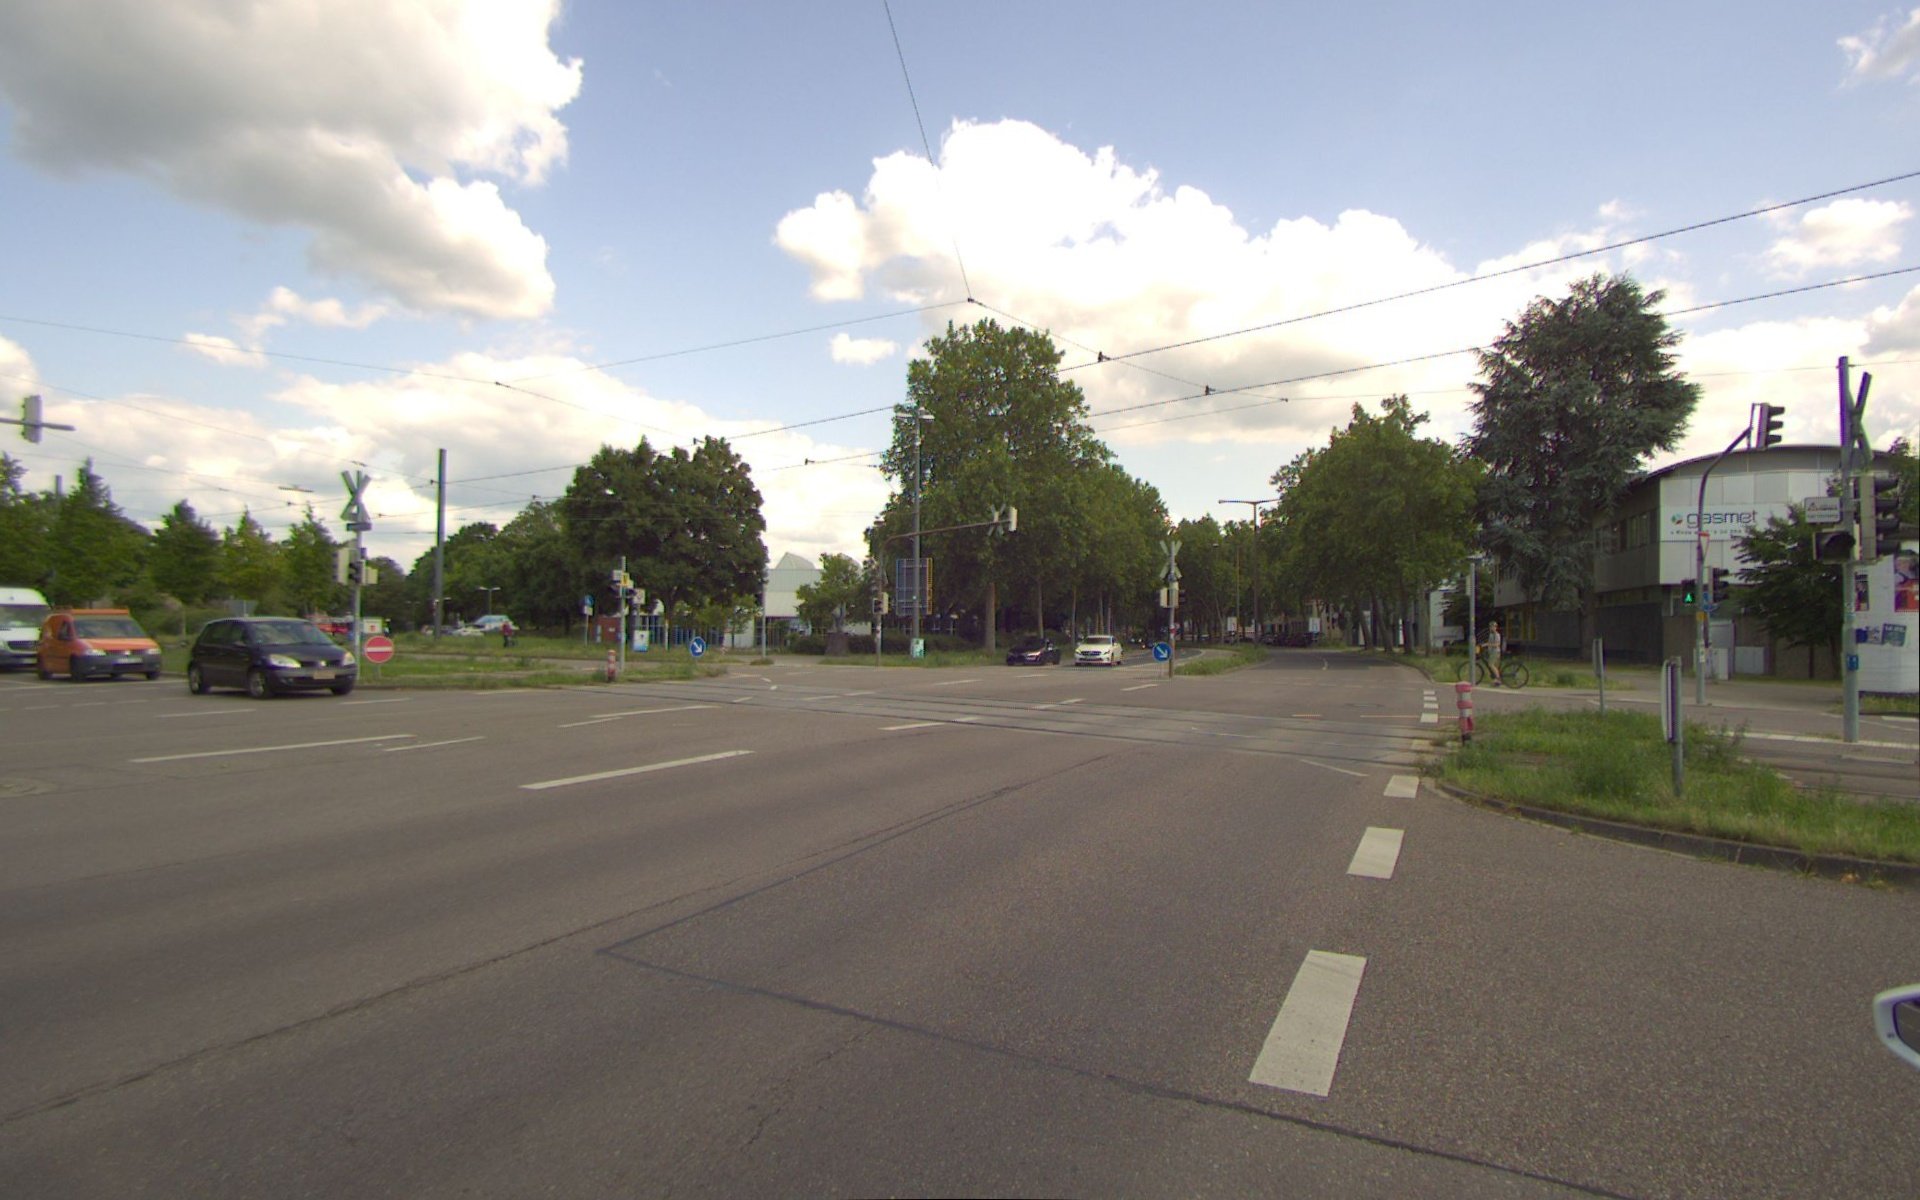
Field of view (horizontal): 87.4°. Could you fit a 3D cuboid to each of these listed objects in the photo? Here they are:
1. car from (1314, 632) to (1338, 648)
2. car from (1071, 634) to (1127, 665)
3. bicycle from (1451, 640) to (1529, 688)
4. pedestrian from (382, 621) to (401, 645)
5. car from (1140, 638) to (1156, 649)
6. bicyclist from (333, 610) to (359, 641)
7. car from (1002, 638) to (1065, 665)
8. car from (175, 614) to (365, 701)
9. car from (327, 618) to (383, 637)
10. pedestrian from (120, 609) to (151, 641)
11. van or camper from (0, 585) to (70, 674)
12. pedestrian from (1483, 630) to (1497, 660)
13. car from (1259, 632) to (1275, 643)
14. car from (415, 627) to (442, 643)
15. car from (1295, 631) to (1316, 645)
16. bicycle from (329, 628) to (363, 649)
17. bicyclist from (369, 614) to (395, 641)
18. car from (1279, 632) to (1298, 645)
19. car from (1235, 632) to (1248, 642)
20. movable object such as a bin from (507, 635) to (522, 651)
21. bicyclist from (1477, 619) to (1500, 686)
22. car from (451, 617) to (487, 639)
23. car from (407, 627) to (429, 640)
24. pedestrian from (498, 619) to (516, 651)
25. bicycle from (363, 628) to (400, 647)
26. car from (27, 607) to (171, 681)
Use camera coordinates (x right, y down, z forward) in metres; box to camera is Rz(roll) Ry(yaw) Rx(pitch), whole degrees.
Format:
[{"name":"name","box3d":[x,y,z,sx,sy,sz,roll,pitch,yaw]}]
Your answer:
[{"name":"car","box3d":[41.615,4.519,114.294,1.959,1.595,4.002,0,0,11]},{"name":"car","box3d":[6.689,2.353,48.052,1.795,1.382,4.138,0,-2,21]},{"name":"bicycle","box3d":[14.862,1.781,28.180,1.919,1.252,0.539,0,0,33]},{"name":"pedestrian","box3d":[-33.142,1.902,58.586,0.739,1.372,0.650,0,0,29]},{"name":"car","box3d":[22.027,5.089,117.919,1.607,1.207,3.711,1,-2,6]},{"name":"bicyclist","box3d":[-34.845,1.451,57.023,0.822,1.745,0.960,0,-2,34]},{"name":"car","box3d":[3.602,2.474,48.608,1.611,1.207,3.702,0,-2,30]},{"name":"car","box3d":[-14.380,1.137,20.900,3.981,1.652,1.732,0,-2,31]},{"name":"car","box3d":[-51.638,2.334,85.713,3.961,1.550,1.980,2,-2,-36]},{"name":"pedestrian","box3d":[-54.235,1.649,66.061,1.154,2.040,1.106,0,-2,23]},{"name":"van or camper","box3d":[-29.828,0.892,31.063,5.935,2.557,1.977,0,-2,34]},{"name":"pedestrian","box3d":[29.000,2.471,54.955,0.610,1.590,0.559,0,0,23]},{"name":"car","box3d":[49.030,5.959,160.491,1.959,1.595,4.002,0,0,11]},{"name":"car","box3d":[-56.662,3.689,107.095,1.980,1.661,4.347,2,-2,-35]},{"name":"car","box3d":[43.391,4.758,126.086,1.959,1.595,4.002,0,0,11]},{"name":"bicycle","box3d":[-34.871,2.165,57.020,1.951,1.169,0.949,0,-2,35]},{"name":"bicyclist","box3d":[-32.744,1.572,56.934,0.821,1.509,0.961,0,-2,31]},{"name":"car","box3d":[43.969,5.156,134.539,1.959,1.595,4.002,0,0,11]},{"name":"car","box3d":[48.893,6.344,174.396,1.959,1.595,4.002,0,0,11]},{"name":"movable object such as a bin","box3d":[-23.413,2.265,52.800,0.450,0.822,0.579,0,0,16]},{"name":"bicyclist","box3d":[14.834,1.465,28.178,0.535,1.834,0.539,0,1,32]},{"name":"car","box3d":[-39.481,2.252,80.729,1.980,1.661,4.347,2,-2,-35]},{"name":"car","box3d":[-67.330,4.157,124.747,1.980,1.661,4.347,2,-2,-35]},{"name":"pedestrian","box3d":[-23.878,1.848,52.928,0.625,1.666,0.613,0,0,15]},{"name":"bicycle","box3d":[-32.805,2.107,56.957,1.949,1.054,0.950,0,-2,31]},{"name":"car","box3d":[-22.870,1.127,26.645,4.298,1.823,1.878,0,-2,35]}]
